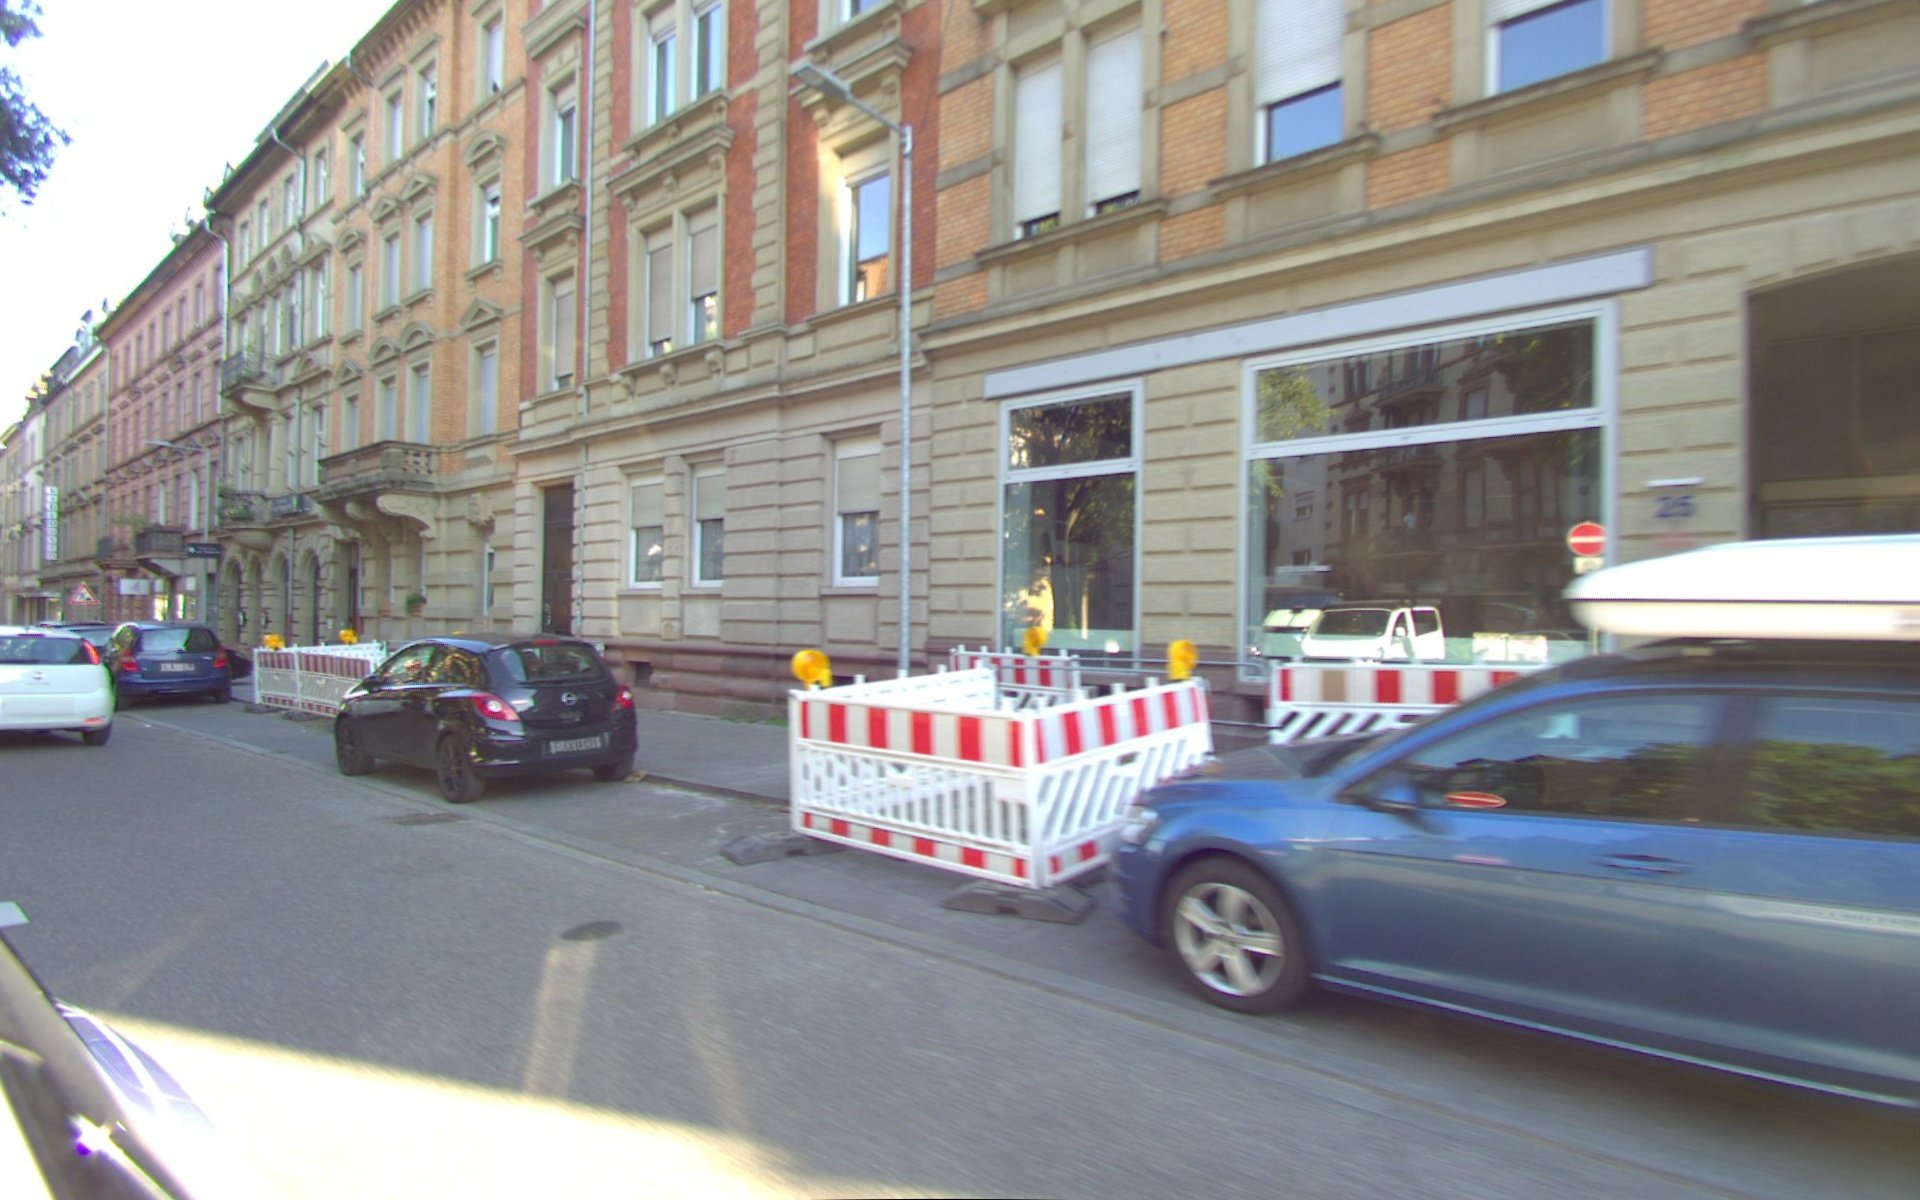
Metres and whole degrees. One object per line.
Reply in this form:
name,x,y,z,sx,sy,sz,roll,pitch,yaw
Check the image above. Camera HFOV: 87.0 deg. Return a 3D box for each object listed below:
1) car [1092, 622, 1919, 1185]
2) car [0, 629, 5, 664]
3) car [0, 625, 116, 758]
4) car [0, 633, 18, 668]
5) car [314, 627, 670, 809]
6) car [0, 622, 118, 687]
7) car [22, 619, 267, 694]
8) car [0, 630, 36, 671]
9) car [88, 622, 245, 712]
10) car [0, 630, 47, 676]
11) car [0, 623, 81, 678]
car,2.748,0.808,3.535,4.297,1.448,1.747,-1,-2,40
car,-42.611,2.002,43.560,4.421,1.488,1.802,-2,-1,41
car,-12.461,1.082,12.973,3.995,1.521,1.732,-1,-2,39
car,-38.964,1.990,40.325,4.100,1.333,1.687,-2,-3,42
car,-4.793,1.013,10.126,4.017,1.465,1.686,-1,-2,40
car,-24.339,1.426,27.280,4.042,1.586,1.632,-2,0,37
car,-18.298,1.243,22.881,1.822,1.541,3.952,-1,-3,35
car,-35.400,1.834,37.210,3.958,1.450,1.687,-2,-3,42
car,-15.482,1.230,19.684,3.894,1.579,1.723,-2,-3,42
car,-31.812,1.733,33.736,3.998,1.484,1.565,-2,-3,41
car,-28.004,1.492,30.562,3.998,1.484,1.630,-2,0,41
